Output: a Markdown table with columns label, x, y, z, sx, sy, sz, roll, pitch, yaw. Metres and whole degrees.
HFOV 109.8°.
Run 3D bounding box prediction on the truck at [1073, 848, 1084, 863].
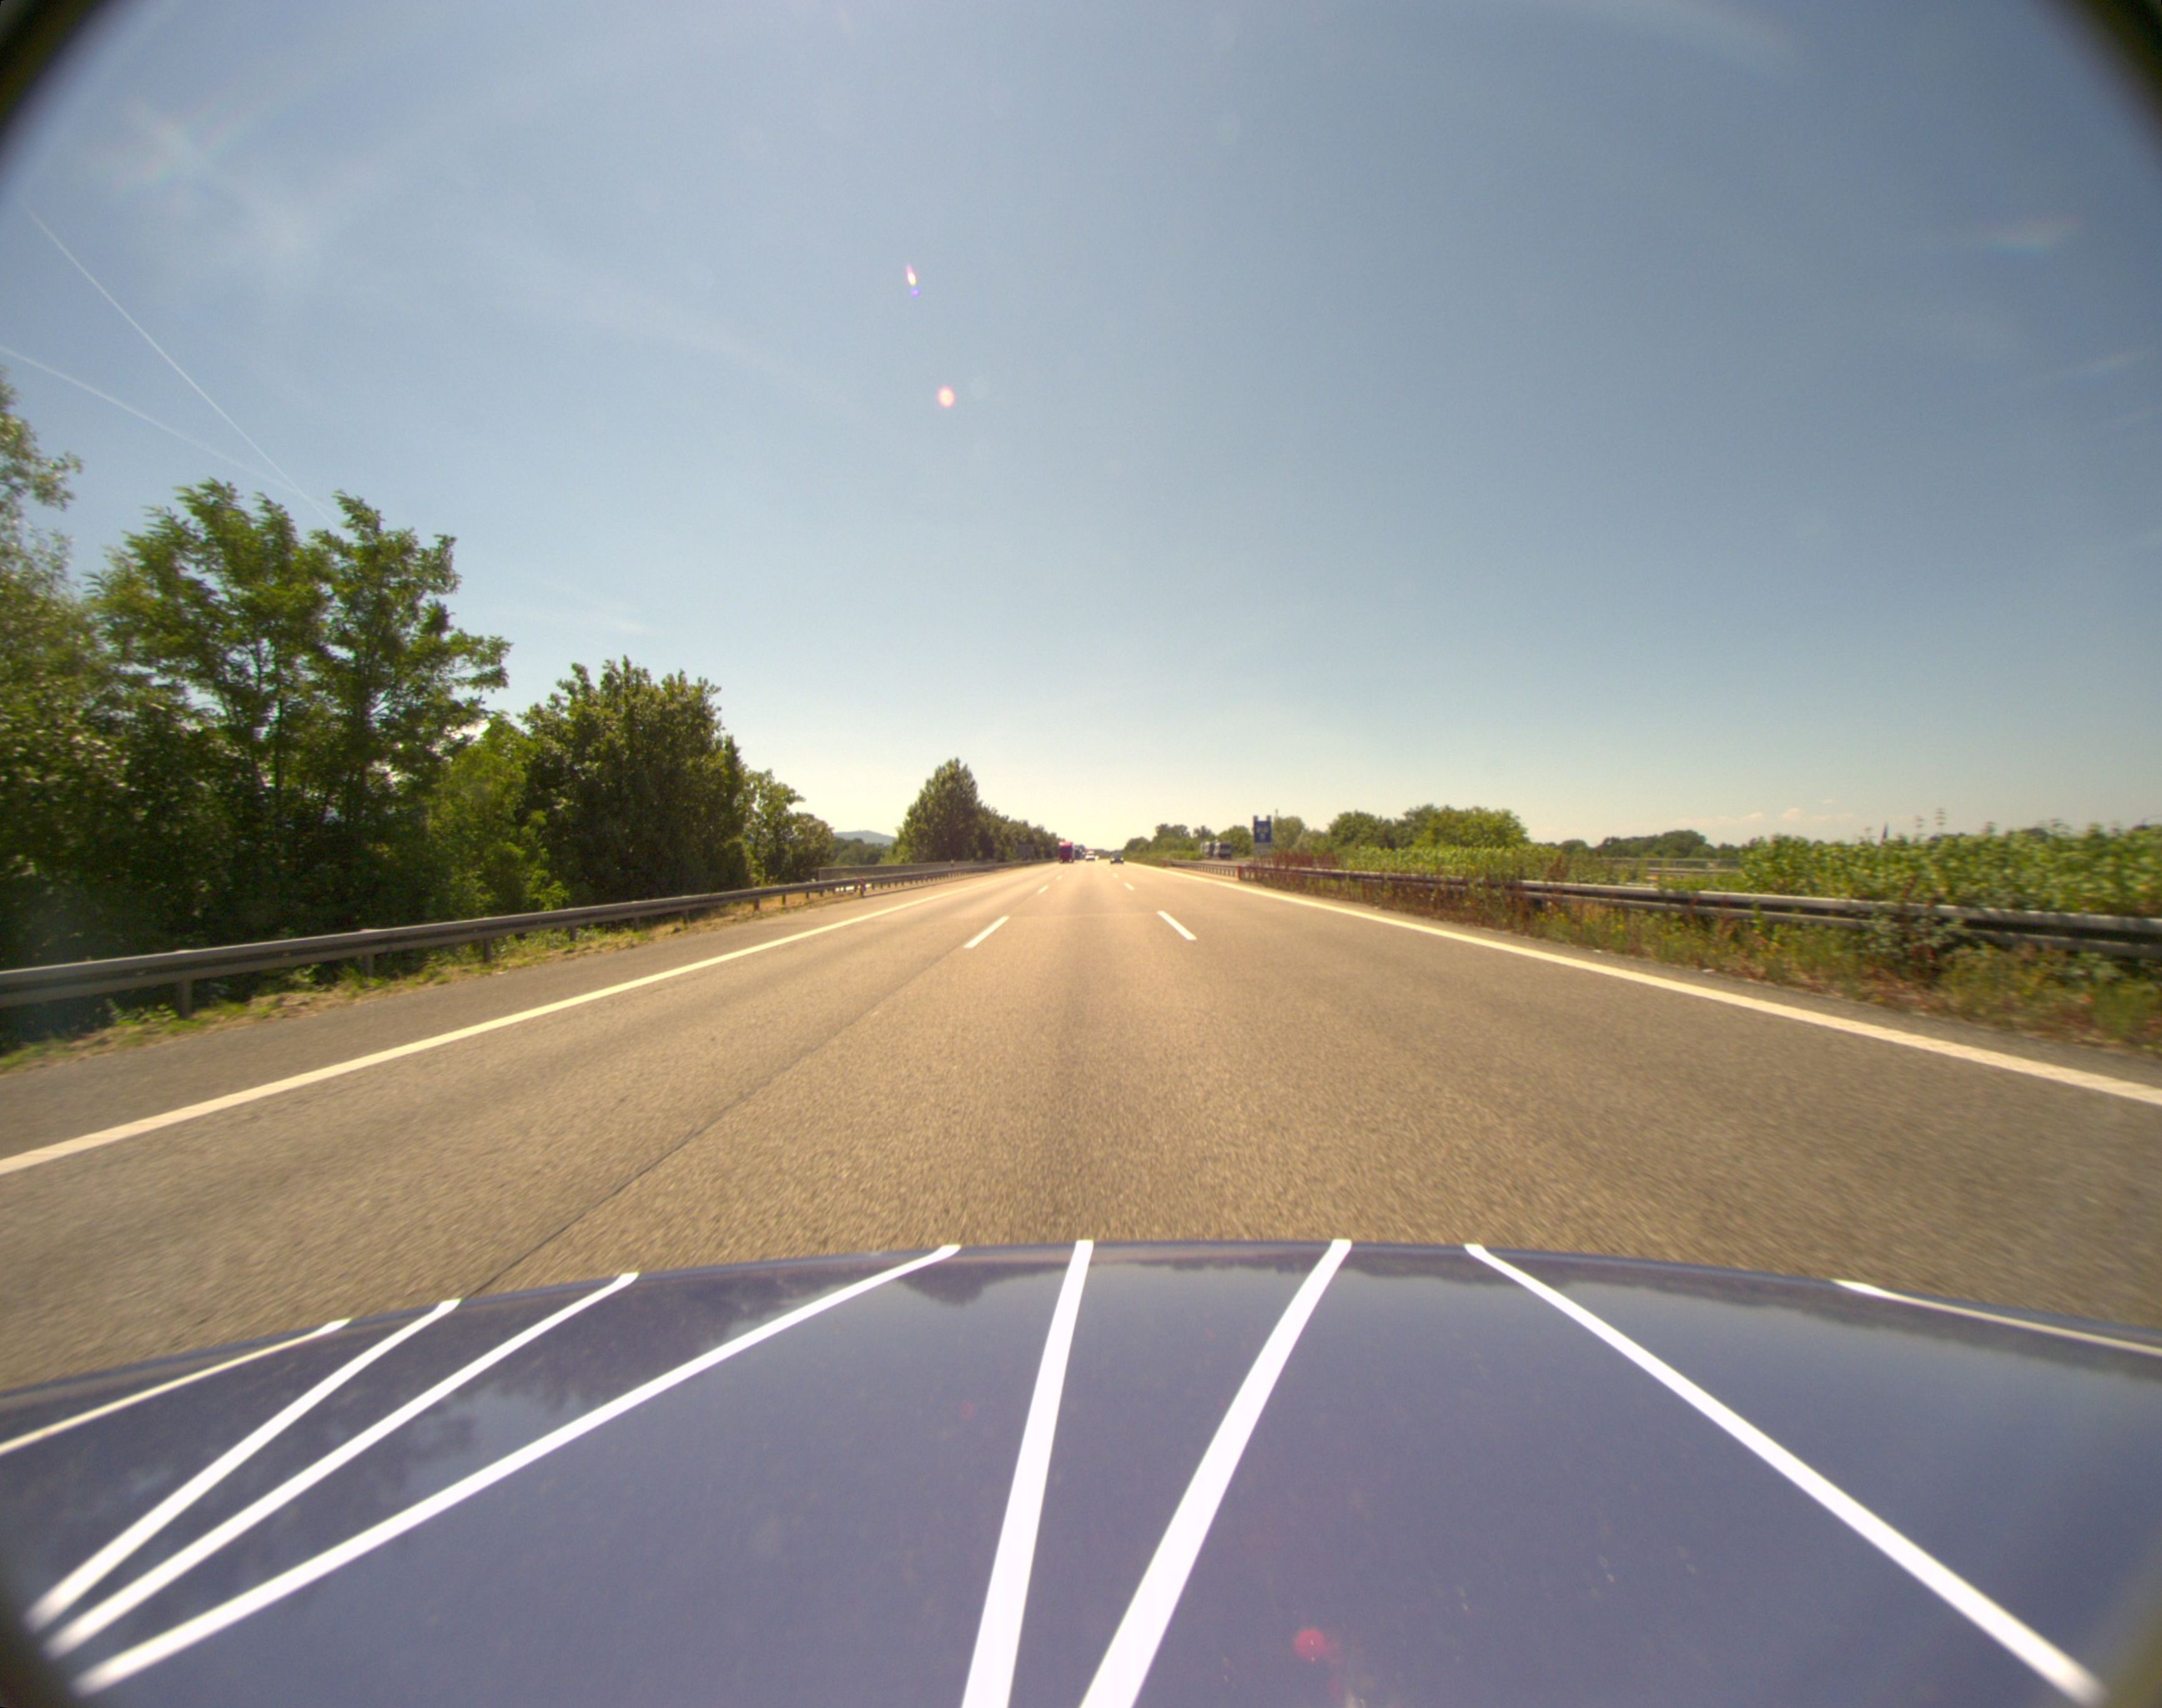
| label | x | y | z | sx | sy | sz | roll | pitch | yaw |
| --- | --- | --- | --- | --- | --- | --- | --- | --- | --- |
| truck | -0.834 | 0.521 | 238.254 | 2.938 | 4.429 | 10.260 | -3 | 0 | 1 |

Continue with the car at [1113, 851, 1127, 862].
| label | x | y | z | sx | sy | sz | roll | pitch | yaw |
| --- | --- | --- | --- | --- | --- | --- | --- | --- | --- |
| car | 5.292 | 0.329 | 104.581 | 1.736 | 1.433 | 4.000 | -3 | 0 | 1 |

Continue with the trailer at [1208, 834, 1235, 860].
| label | x | y | z | sx | sy | sz | roll | pitch | yaw |
| --- | --- | --- | --- | --- | --- | --- | --- | --- | --- |
| trailer | 23.073 | -1.143 | 124.977 | 2.932 | 3.967 | 9.660 | -3 | 0 | 3 |

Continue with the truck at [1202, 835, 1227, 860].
| label | x | y | z | sx | sy | sz | roll | pitch | yaw |
| --- | --- | --- | --- | --- | --- | --- | --- | --- | --- |
| truck | 23.346 | -1.114 | 133.322 | 2.924 | 3.967 | 9.624 | -3 | 0 | 2 |

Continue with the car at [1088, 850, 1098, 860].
| label | x | y | z | sx | sy | sz | roll | pitch | yaw |
| --- | --- | --- | --- | --- | --- | --- | --- | --- | --- |
| car | 2.597 | 0.131 | 161.710 | 1.998 | 2.002 | 4.756 | -3 | 0 | 1 |

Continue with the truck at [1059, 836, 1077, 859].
| label | x | y | z | sx | sy | sz | roll | pitch | yaw |
| --- | --- | --- | --- | --- | --- | --- | --- | --- | --- |
| truck | -2.433 | -1.196 | 143.985 | 2.938 | 3.933 | 10.260 | -3 | 0 | 1 |
